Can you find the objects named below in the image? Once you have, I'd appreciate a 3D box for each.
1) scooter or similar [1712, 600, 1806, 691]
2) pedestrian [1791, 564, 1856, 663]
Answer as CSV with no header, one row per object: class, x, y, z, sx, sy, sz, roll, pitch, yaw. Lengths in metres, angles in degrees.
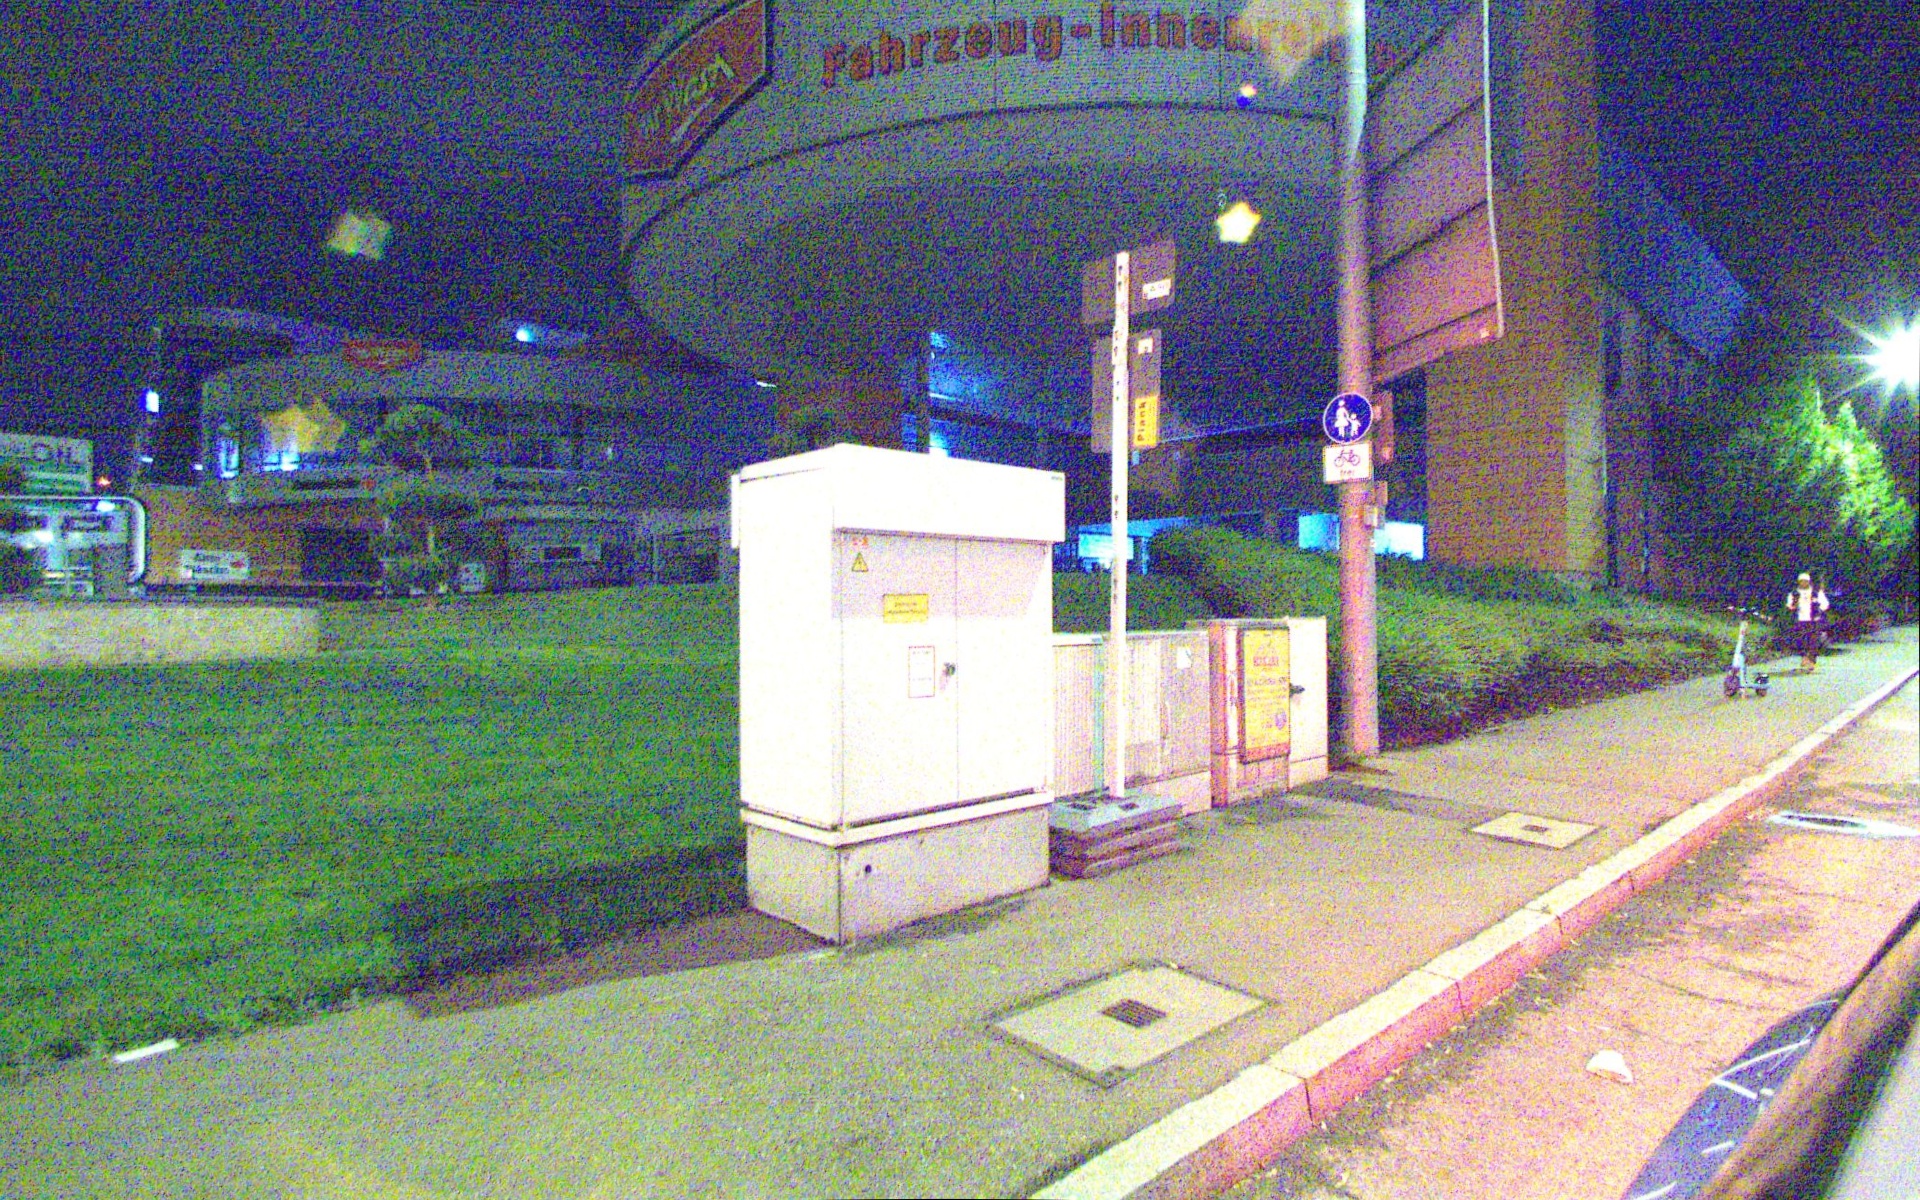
scooter or similar,11.010,0.618,13.950,1.111,1.217,0.470,1,-1,-17
pedestrian,17.076,0.246,20.014,1.016,1.888,0.819,0,0,-41
